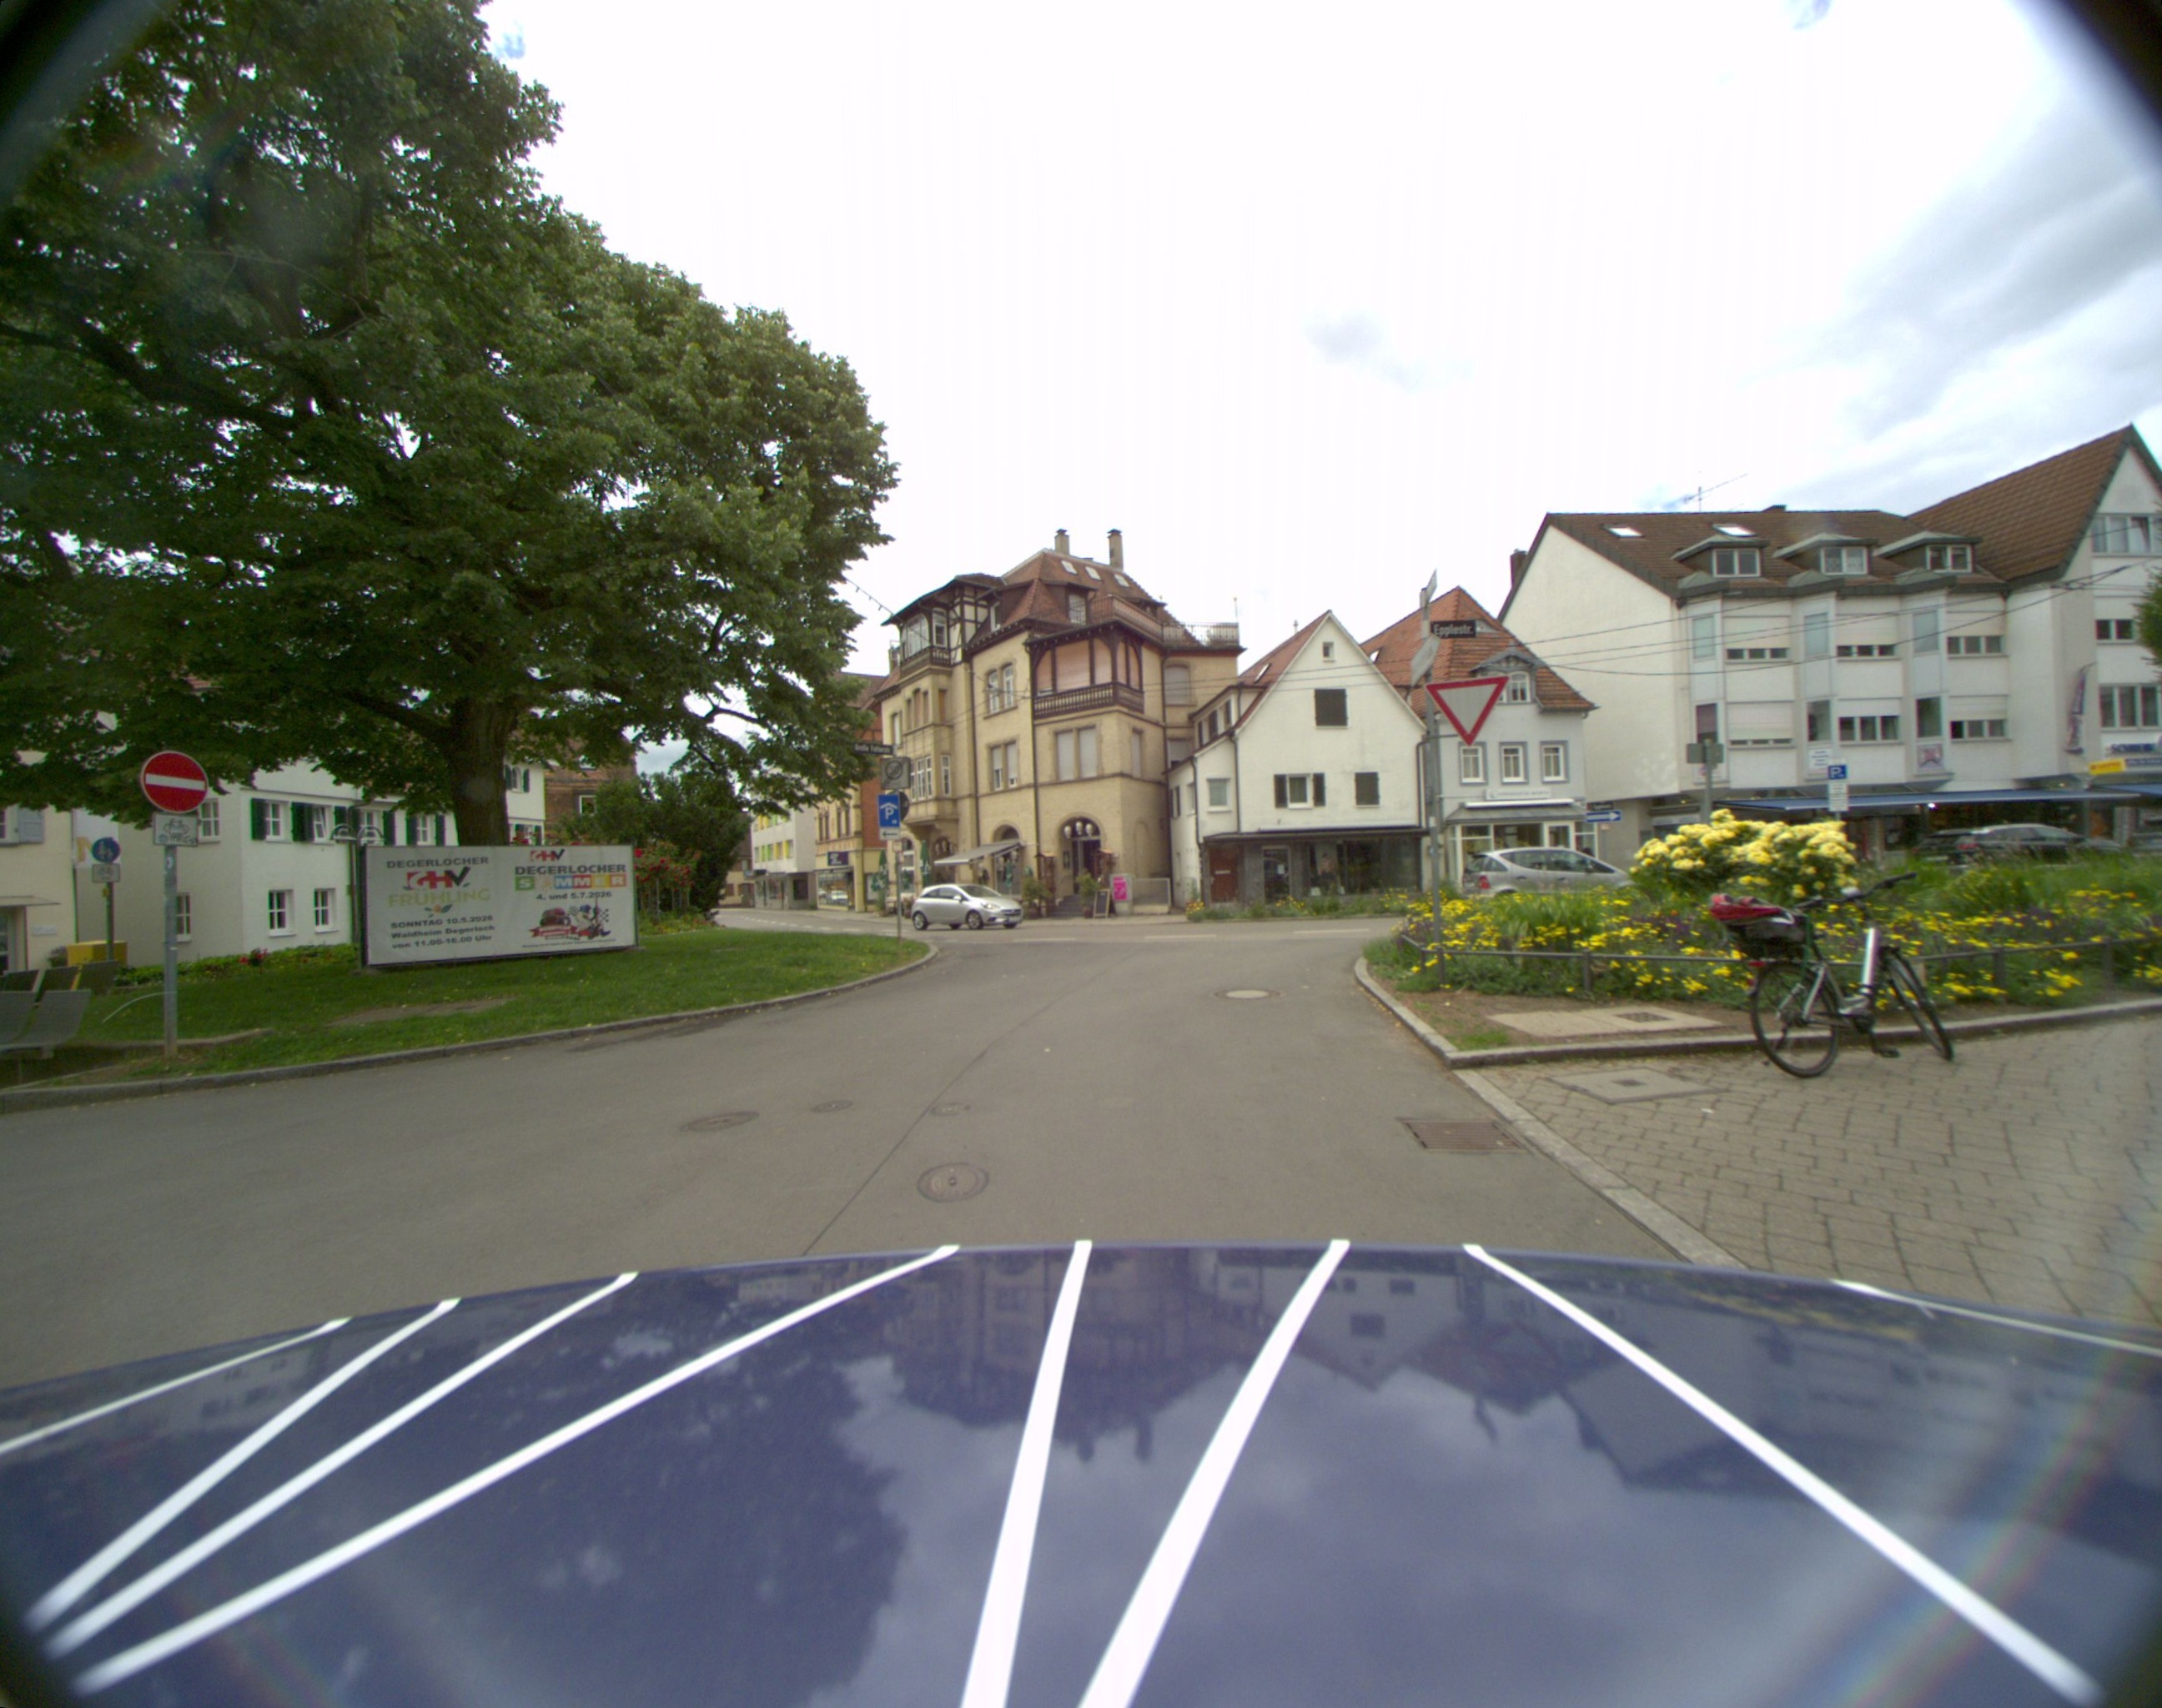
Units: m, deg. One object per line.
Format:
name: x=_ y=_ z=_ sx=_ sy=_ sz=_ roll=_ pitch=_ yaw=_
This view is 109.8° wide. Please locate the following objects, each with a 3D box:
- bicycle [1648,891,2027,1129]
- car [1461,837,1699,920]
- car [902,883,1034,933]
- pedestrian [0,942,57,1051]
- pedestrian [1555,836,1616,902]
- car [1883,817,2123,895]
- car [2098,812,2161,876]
bicycle: x=4.869 y=0.919 z=4.926 sx=1.981 sy=1.232 sz=0.743 roll=-3 pitch=-1 yaw=-13
car: x=10.955 y=0.573 z=17.030 sx=3.993 sy=1.617 sz=1.899 roll=-3 pitch=-2 yaw=14
car: x=-3.614 y=1.715 z=24.094 sx=3.990 sy=1.347 sz=1.760 roll=-4 pitch=0 yaw=36
pedestrian: x=-14.787 y=1.938 z=10.184 sx=0.858 sy=1.372 sz=0.973 roll=-3 pitch=-1 yaw=-25
pedestrian: x=15.888 y=0.480 z=23.965 sx=1.013 sy=2.001 sz=1.106 roll=-3 pitch=-1 yaw=-4
car: x=24.769 y=0.071 z=20.537 sx=3.997 sy=1.843 sz=2.000 roll=-2 pitch=-1 yaw=-1
car: x=31.015 y=-0.354 z=20.562 sx=4.425 sy=1.721 sz=2.000 roll=-2 pitch=-1 yaw=-3
